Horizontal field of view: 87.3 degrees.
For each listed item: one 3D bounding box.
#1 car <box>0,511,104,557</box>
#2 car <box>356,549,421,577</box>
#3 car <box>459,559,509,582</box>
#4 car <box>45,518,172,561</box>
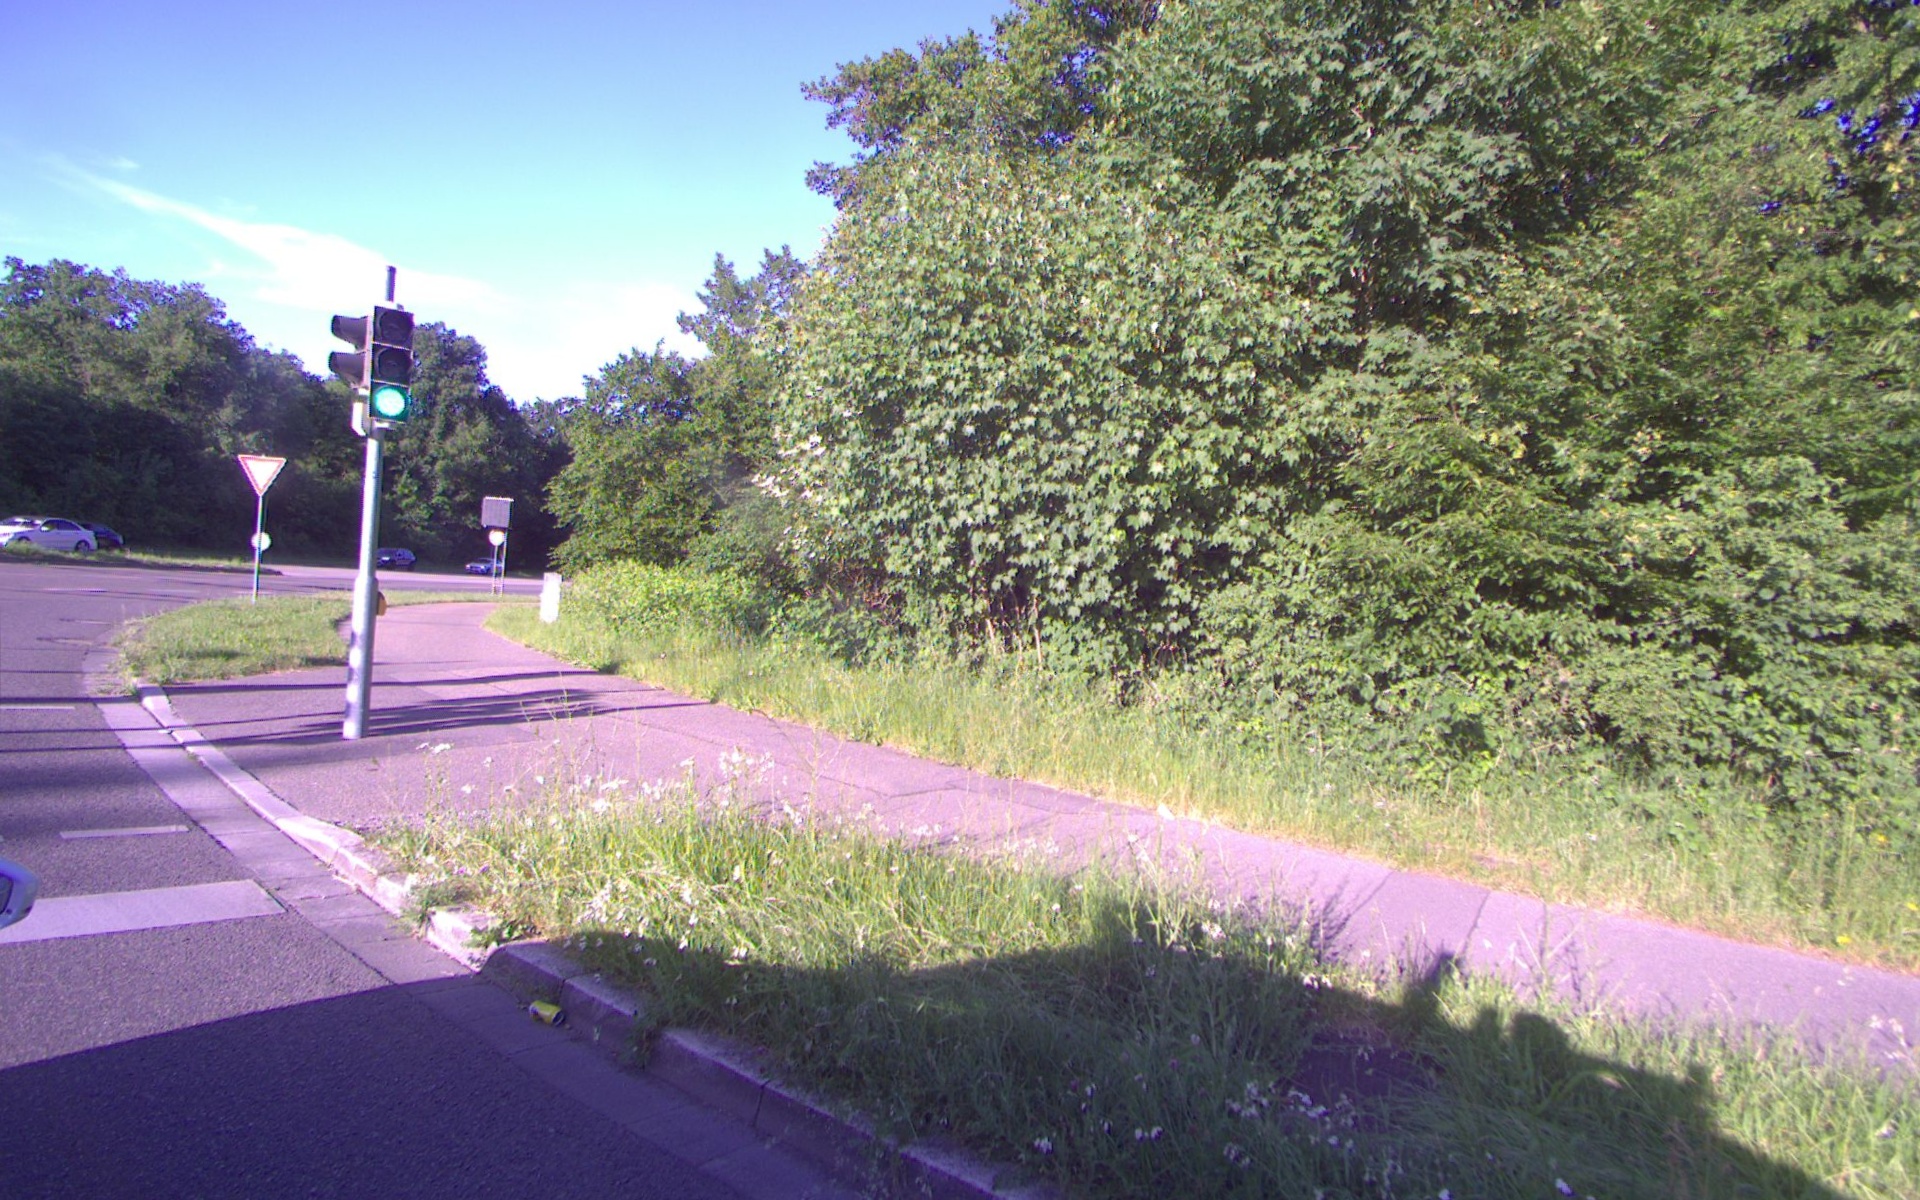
[{"bbox_3d":[-35.726,-2.582,38.552,1.964,1.454,4.803,5,0,-6],"label":"car"},{"bbox_3d":[-40.279,-2.577,71.022,1.963,1.548,4.649,5,0,-2],"label":"car"},{"bbox_3d":[-40.614,-2.492,86.006,1.963,1.548,4.650,5,0,0],"label":"car"},{"bbox_3d":[-38.500,-2.679,45.667,1.964,1.454,4.803,5,0,-6],"label":"car"}]
